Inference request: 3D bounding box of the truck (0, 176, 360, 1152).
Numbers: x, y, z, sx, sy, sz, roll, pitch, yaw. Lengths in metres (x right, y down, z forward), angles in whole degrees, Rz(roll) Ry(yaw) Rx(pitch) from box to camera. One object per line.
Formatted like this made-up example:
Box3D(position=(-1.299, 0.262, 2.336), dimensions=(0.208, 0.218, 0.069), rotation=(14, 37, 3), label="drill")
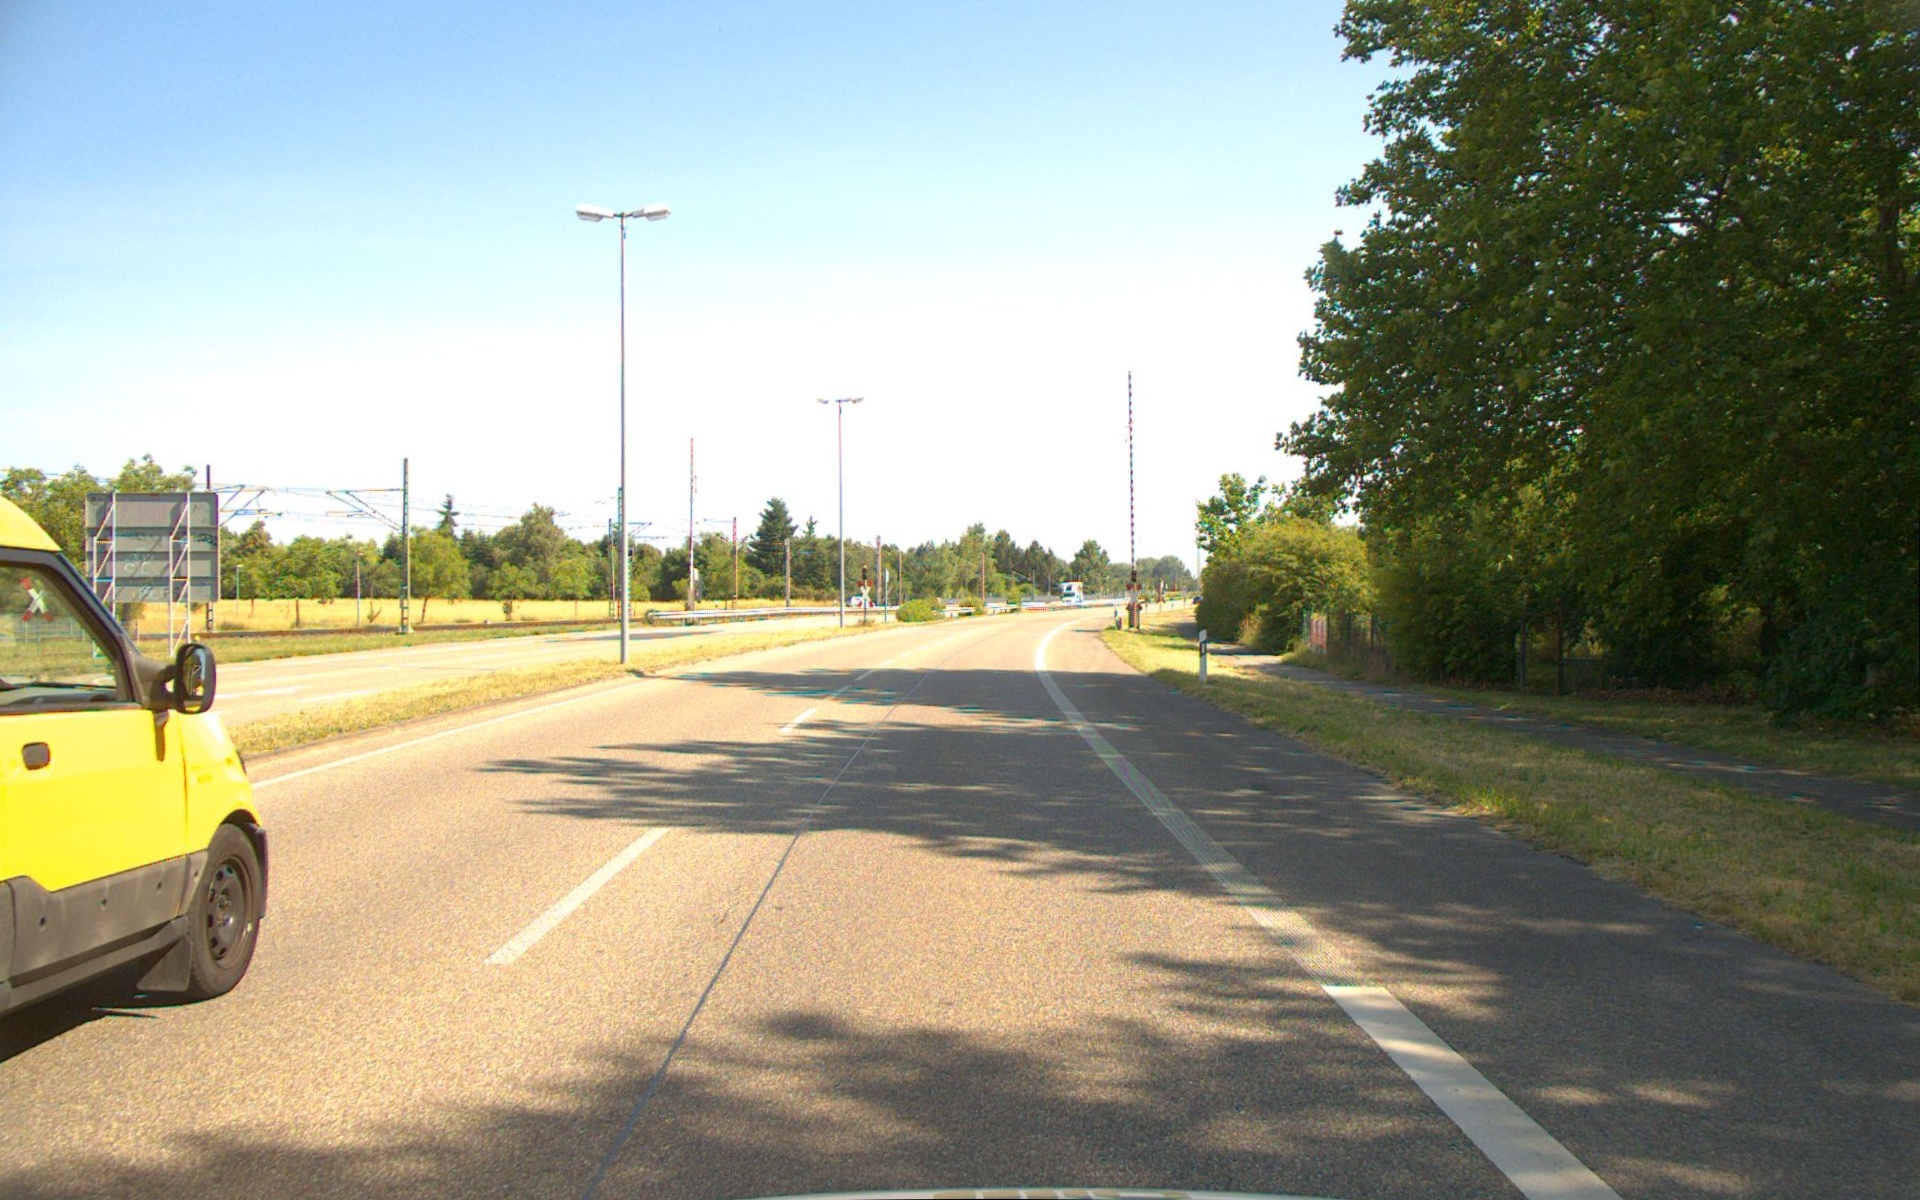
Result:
Box3D(position=(-3.487, 0.161, 3.835), dimensions=(2.069, 2.500, 5.916), rotation=(0, 0, -1), label="truck")
